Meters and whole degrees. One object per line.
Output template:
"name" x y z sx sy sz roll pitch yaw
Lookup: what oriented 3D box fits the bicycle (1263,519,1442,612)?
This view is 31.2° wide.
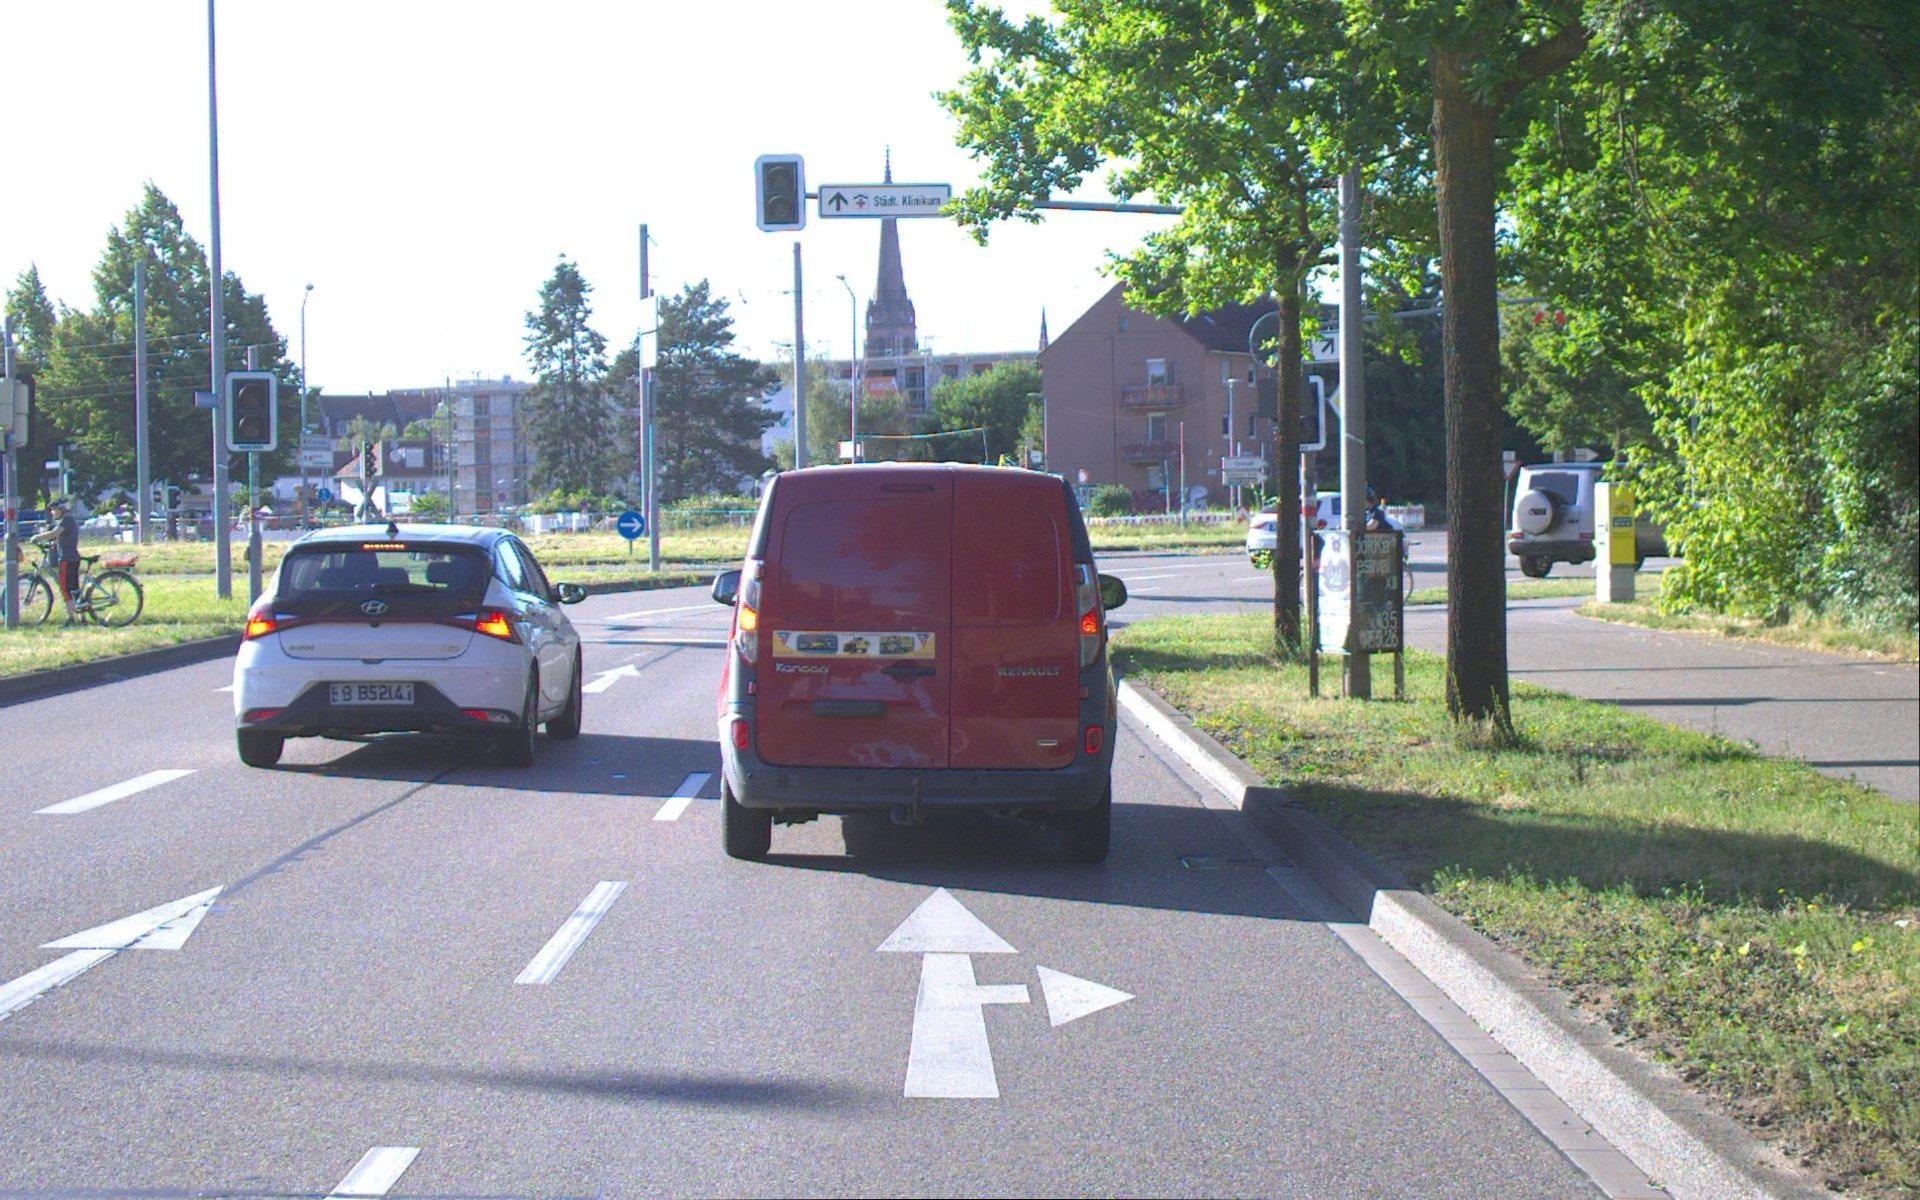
"bicycle" 5.254 -0.458 46.014 2.209 1.151 0.876 -2 1 -23

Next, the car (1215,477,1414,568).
"car" 6.789 -1.489 65.505 1.997 1.633 4.400 0 2 33

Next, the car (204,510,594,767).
"car" -3.436 0.175 21.712 1.802 1.456 3.810 1 1 0

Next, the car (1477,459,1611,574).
"car" 10.113 -1.434 59.847 1.997 1.890 4.752 0 1 6

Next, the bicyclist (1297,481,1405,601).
"bicyclist" 5.224 -0.786 45.997 1.084 1.556 0.876 -2 1 -23

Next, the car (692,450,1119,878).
"car" -0.215 0.228 16.589 1.802 1.807 3.810 1 1 1

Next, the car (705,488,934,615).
"car" -1.829 -0.687 46.288 1.994 1.569 4.406 -1 2 13

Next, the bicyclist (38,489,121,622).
"bicyclist" -11.098 -0.558 43.352 0.939 1.657 0.704 0 0 -10

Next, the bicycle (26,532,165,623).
"bicycle" -10.901 -0.291 43.398 1.649 1.124 0.704 0 1 -10
